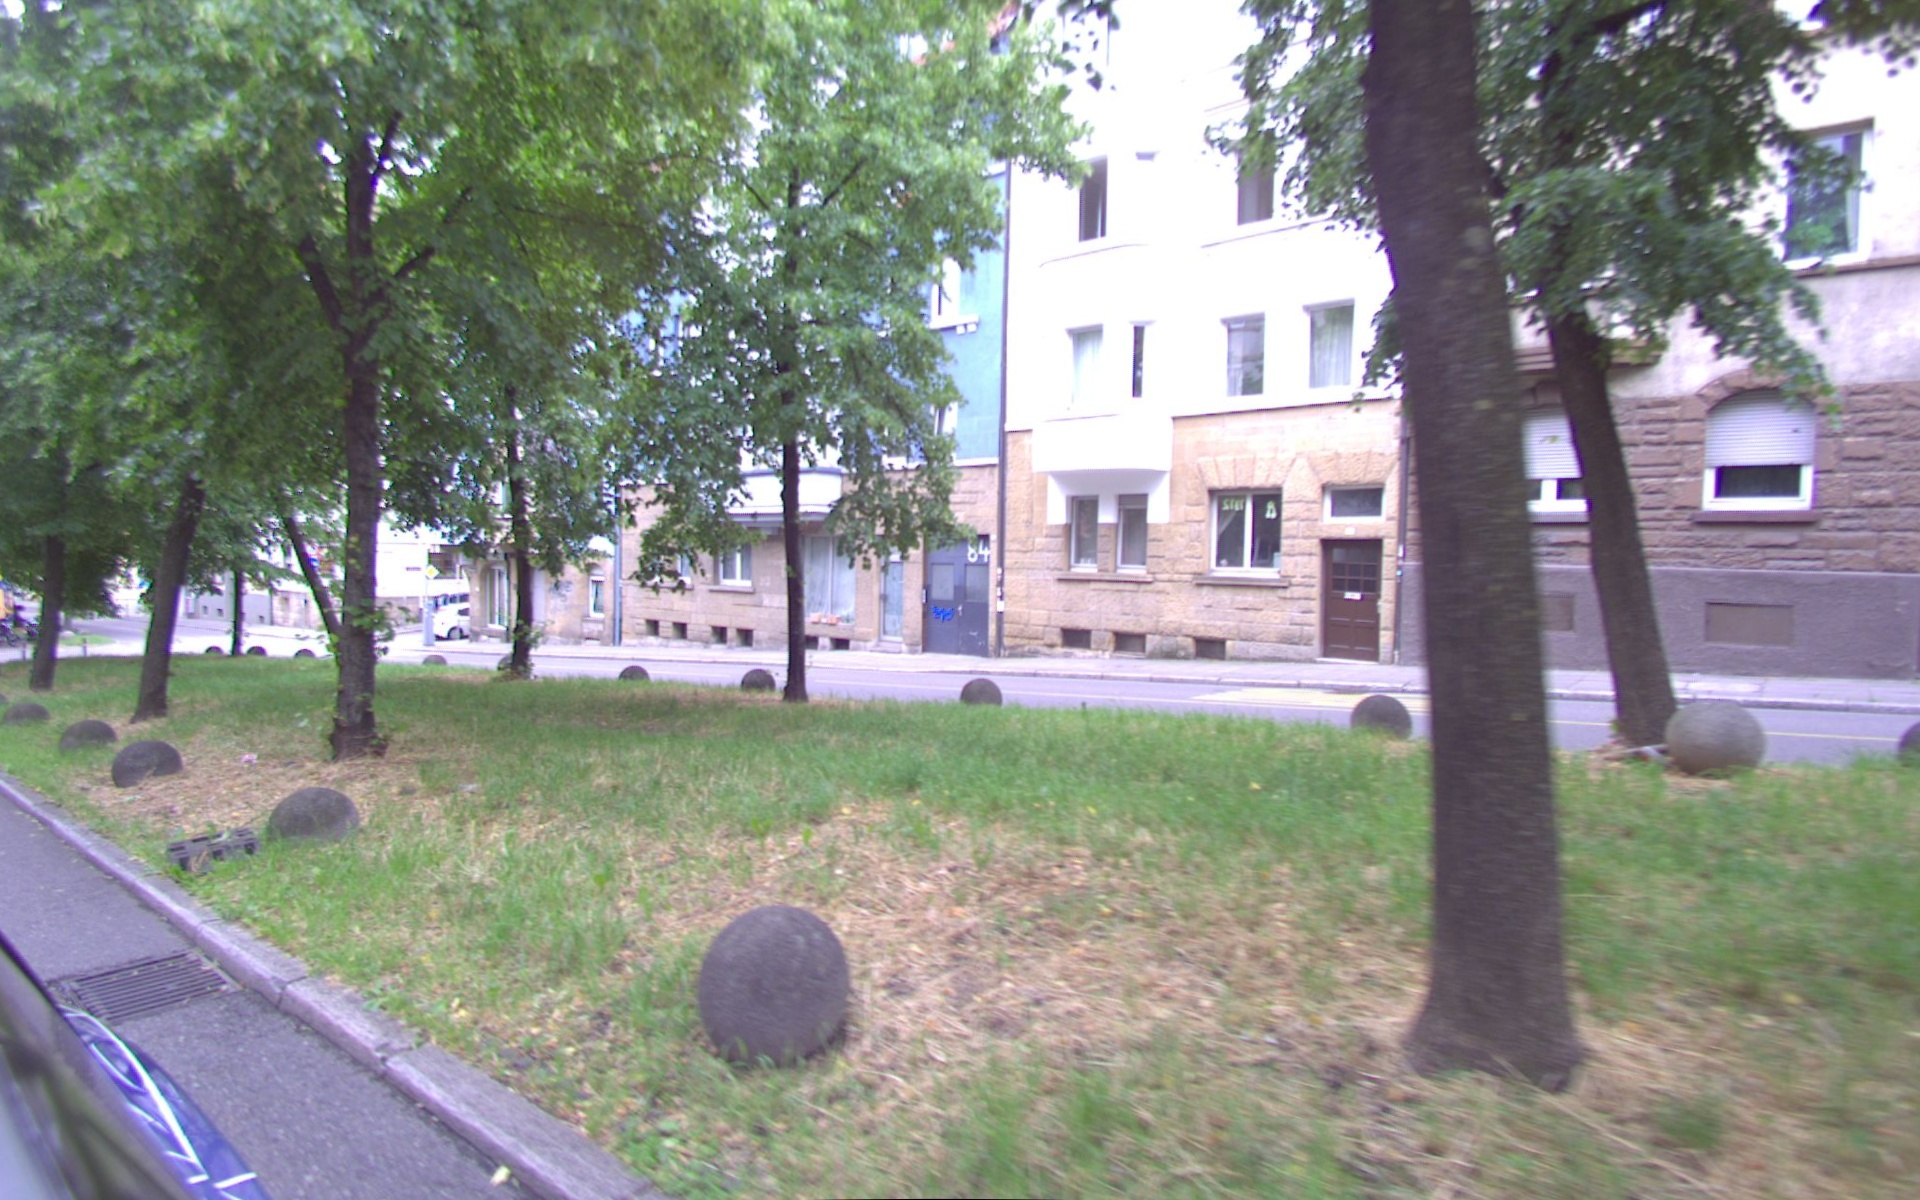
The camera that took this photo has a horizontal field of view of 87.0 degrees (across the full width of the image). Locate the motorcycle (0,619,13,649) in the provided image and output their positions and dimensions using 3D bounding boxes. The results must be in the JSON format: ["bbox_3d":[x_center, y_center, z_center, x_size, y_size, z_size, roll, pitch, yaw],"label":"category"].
[{"bbox_3d":[-38.040,1.348,39.378,0.551,1.104,1.712,3,3,44],"label":"motorcycle"}]

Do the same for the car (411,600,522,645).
[{"bbox_3d":[-21.759,0.957,44.735,1.869,1.480,3.961,2,7,37],"label":"car"}]

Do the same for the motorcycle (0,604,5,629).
[{"bbox_3d":[-58.527,0.985,60.229,0.963,1.494,2.393,3,2,40],"label":"motorcycle"}]

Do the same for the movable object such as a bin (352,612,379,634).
[{"bbox_3d":[-28.293,1.091,48.141,0.667,1.001,0.877,0,3,39],"label":"movable object such as a bin"}]

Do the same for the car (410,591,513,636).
[{"bbox_3d":[-24.191,0.632,49.225,1.870,1.712,3.958,1,6,41],"label":"car"}]

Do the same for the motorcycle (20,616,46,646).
[{"bbox_3d":[-38.294,1.255,41.809,0.740,1.081,1.853,-2,3,-42],"label":"motorcycle"}]
